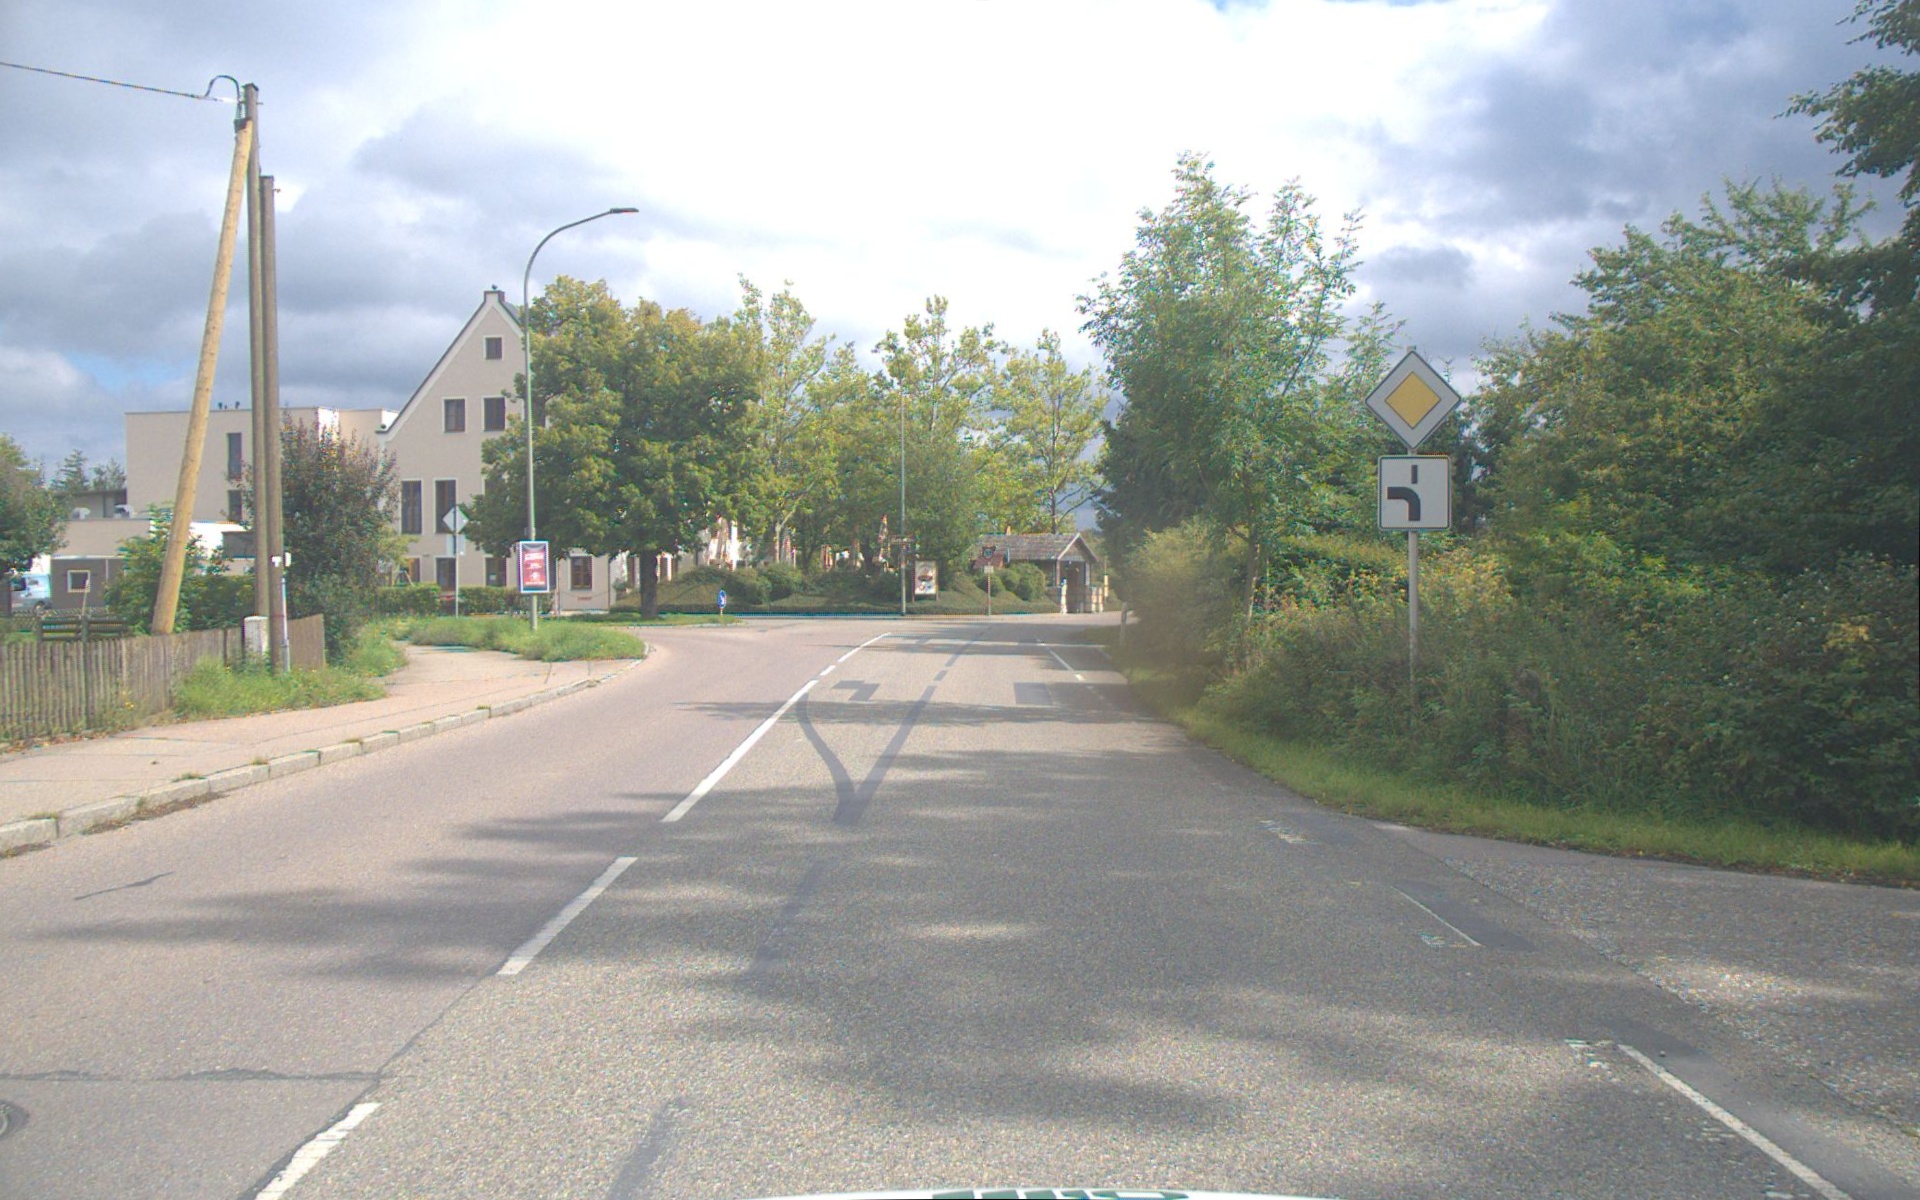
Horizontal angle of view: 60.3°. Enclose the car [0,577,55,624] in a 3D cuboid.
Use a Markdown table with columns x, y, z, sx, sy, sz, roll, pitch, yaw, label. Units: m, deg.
| x | y | z | sx | sy | sz | roll | pitch | yaw | label |
| --- | --- | --- | --- | --- | --- | --- | --- | --- | --- |
| -43.387 | 0.016 | 74.425 | 1.951 | 2.049 | 4.905 | -1 | 1 | 11 | car |
